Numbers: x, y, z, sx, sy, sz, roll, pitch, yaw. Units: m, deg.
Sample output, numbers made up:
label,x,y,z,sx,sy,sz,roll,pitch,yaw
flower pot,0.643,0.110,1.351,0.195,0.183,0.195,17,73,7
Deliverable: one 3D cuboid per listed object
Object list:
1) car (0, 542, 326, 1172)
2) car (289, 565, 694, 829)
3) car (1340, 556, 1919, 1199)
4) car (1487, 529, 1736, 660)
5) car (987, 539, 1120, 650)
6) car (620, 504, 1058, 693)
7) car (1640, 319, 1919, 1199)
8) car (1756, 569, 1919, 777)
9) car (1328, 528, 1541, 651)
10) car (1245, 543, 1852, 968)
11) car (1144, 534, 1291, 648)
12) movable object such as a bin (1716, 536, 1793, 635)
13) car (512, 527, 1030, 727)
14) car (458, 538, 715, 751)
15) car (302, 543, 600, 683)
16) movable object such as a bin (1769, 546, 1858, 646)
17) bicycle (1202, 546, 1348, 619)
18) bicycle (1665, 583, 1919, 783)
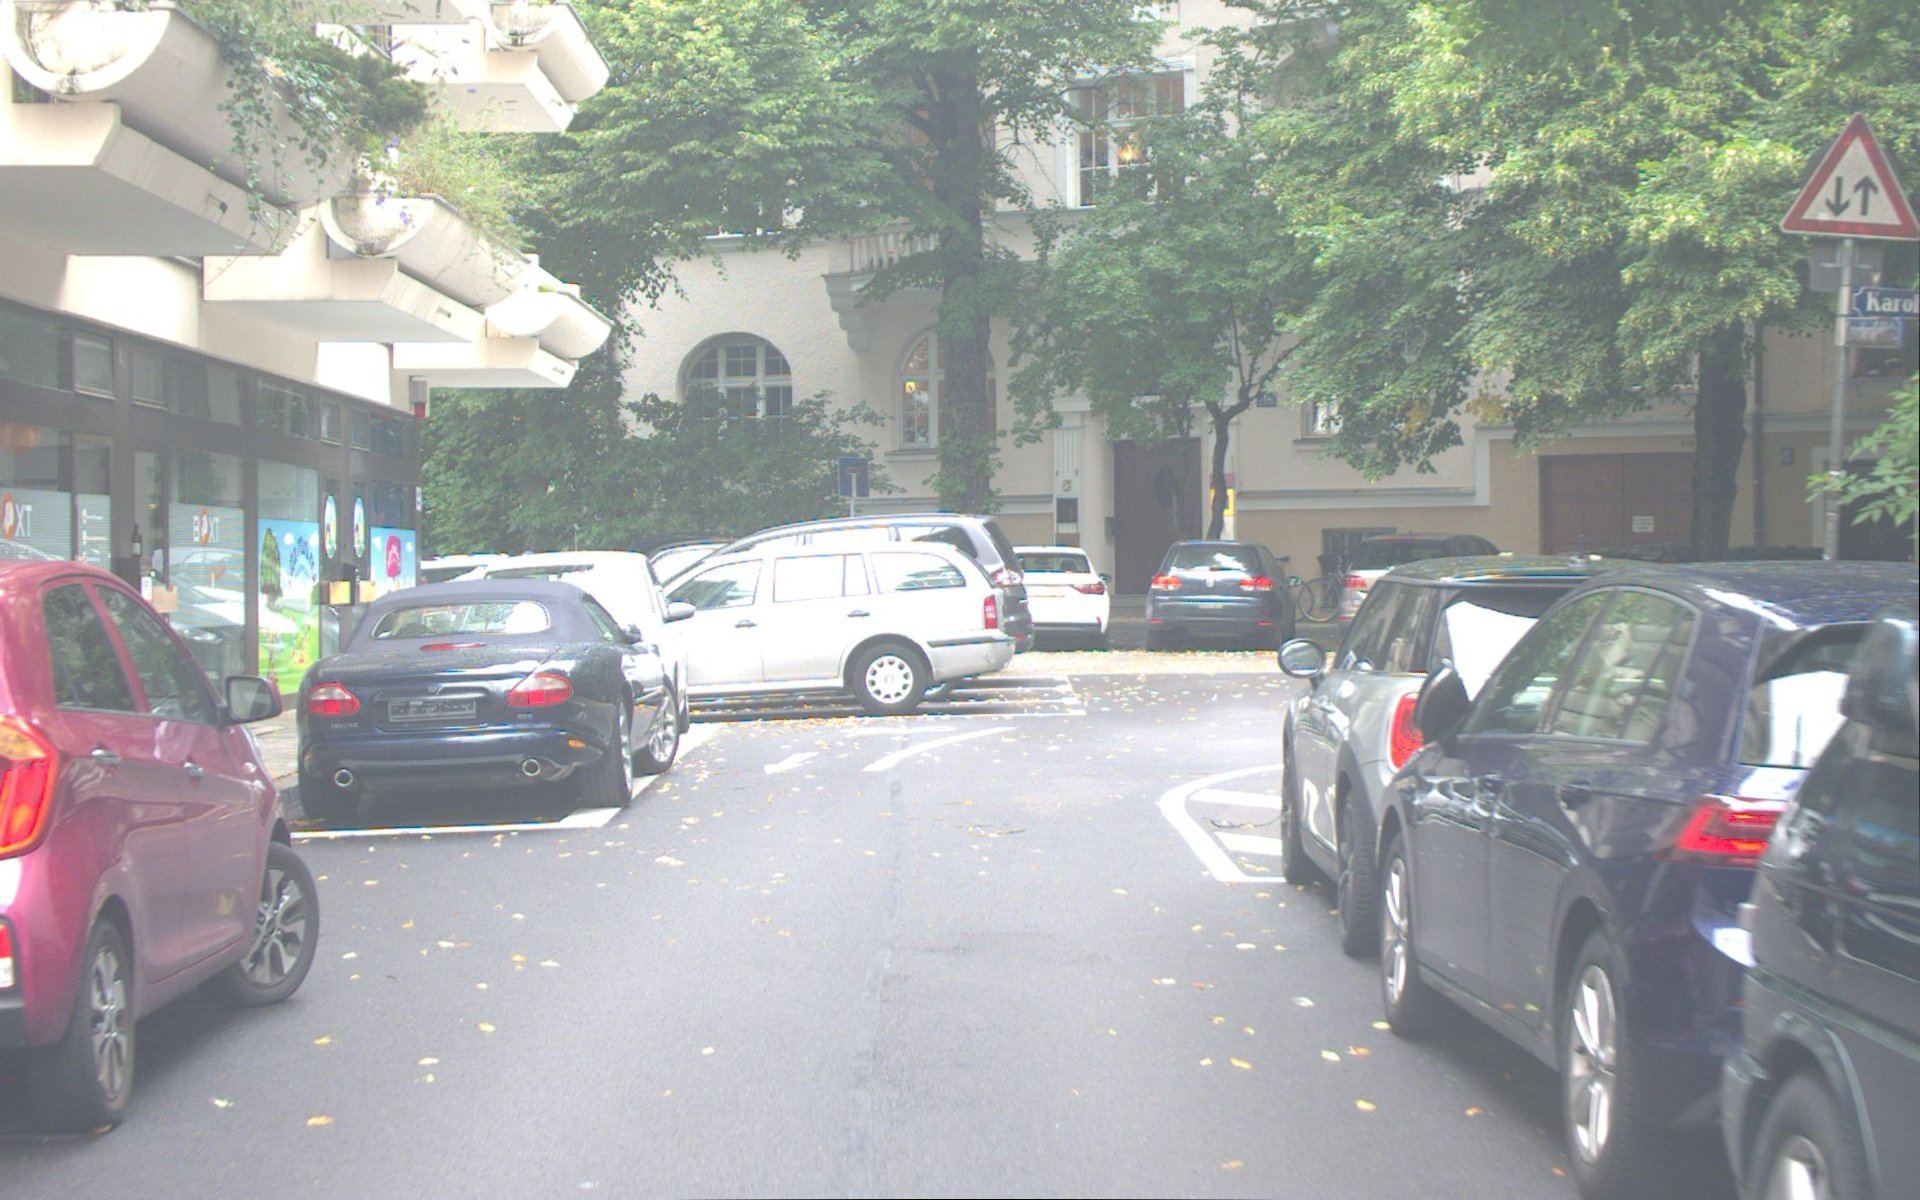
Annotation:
label,x,y,z,sx,sy,sz,roll,pitch,yaw
car,-2.946,0.591,9.969,1.619,1.491,3.709,-1,1,-2
car,-2.619,0.485,20.246,1.797,1.273,4.617,-2,1,-1
car,2.195,0.605,8.942,1.833,1.414,4.059,-1,1,-2
car,8.132,-0.040,42.649,1.707,1.462,4.281,2,0,29
car,1.270,-0.103,46.620,1.718,1.426,4.000,0,1,2
car,-1.217,-0.035,34.622,4.219,1.678,1.903,-2,1,-2
car,2.225,0.523,3.852,1.874,1.785,4.782,0,0,-1
car,7.285,0.488,23.329,1.953,1.372,4.735,0,1,-10
car,6.252,-0.155,44.979,1.841,1.525,4.020,1,1,22
car,2.177,0.503,13.747,1.743,1.436,4.000,-1,1,0
car,3.447,-0.153,45.421,1.792,1.426,3.999,0,1,6
movable object such as a bin,10.920,-0.212,47.214,0.714,1.343,1.371,1,1,27
car,-1.582,0.205,29.371,4.227,1.450,1.721,-3,1,-1
car,-2.715,0.275,25.658,1.560,1.416,3.834,-2,1,-2
car,-6.093,0.139,41.110,3.287,1.625,1.510,0,1,-20
movable object such as a bin,11.570,-0.067,46.571,0.864,1.300,1.430,3,2,25
bicycle,4.959,-0.287,54.175,2.232,1.111,0.576,1,1,28
bicycle,5.016,0.474,20.461,1.767,1.133,0.554,-1,1,-35
